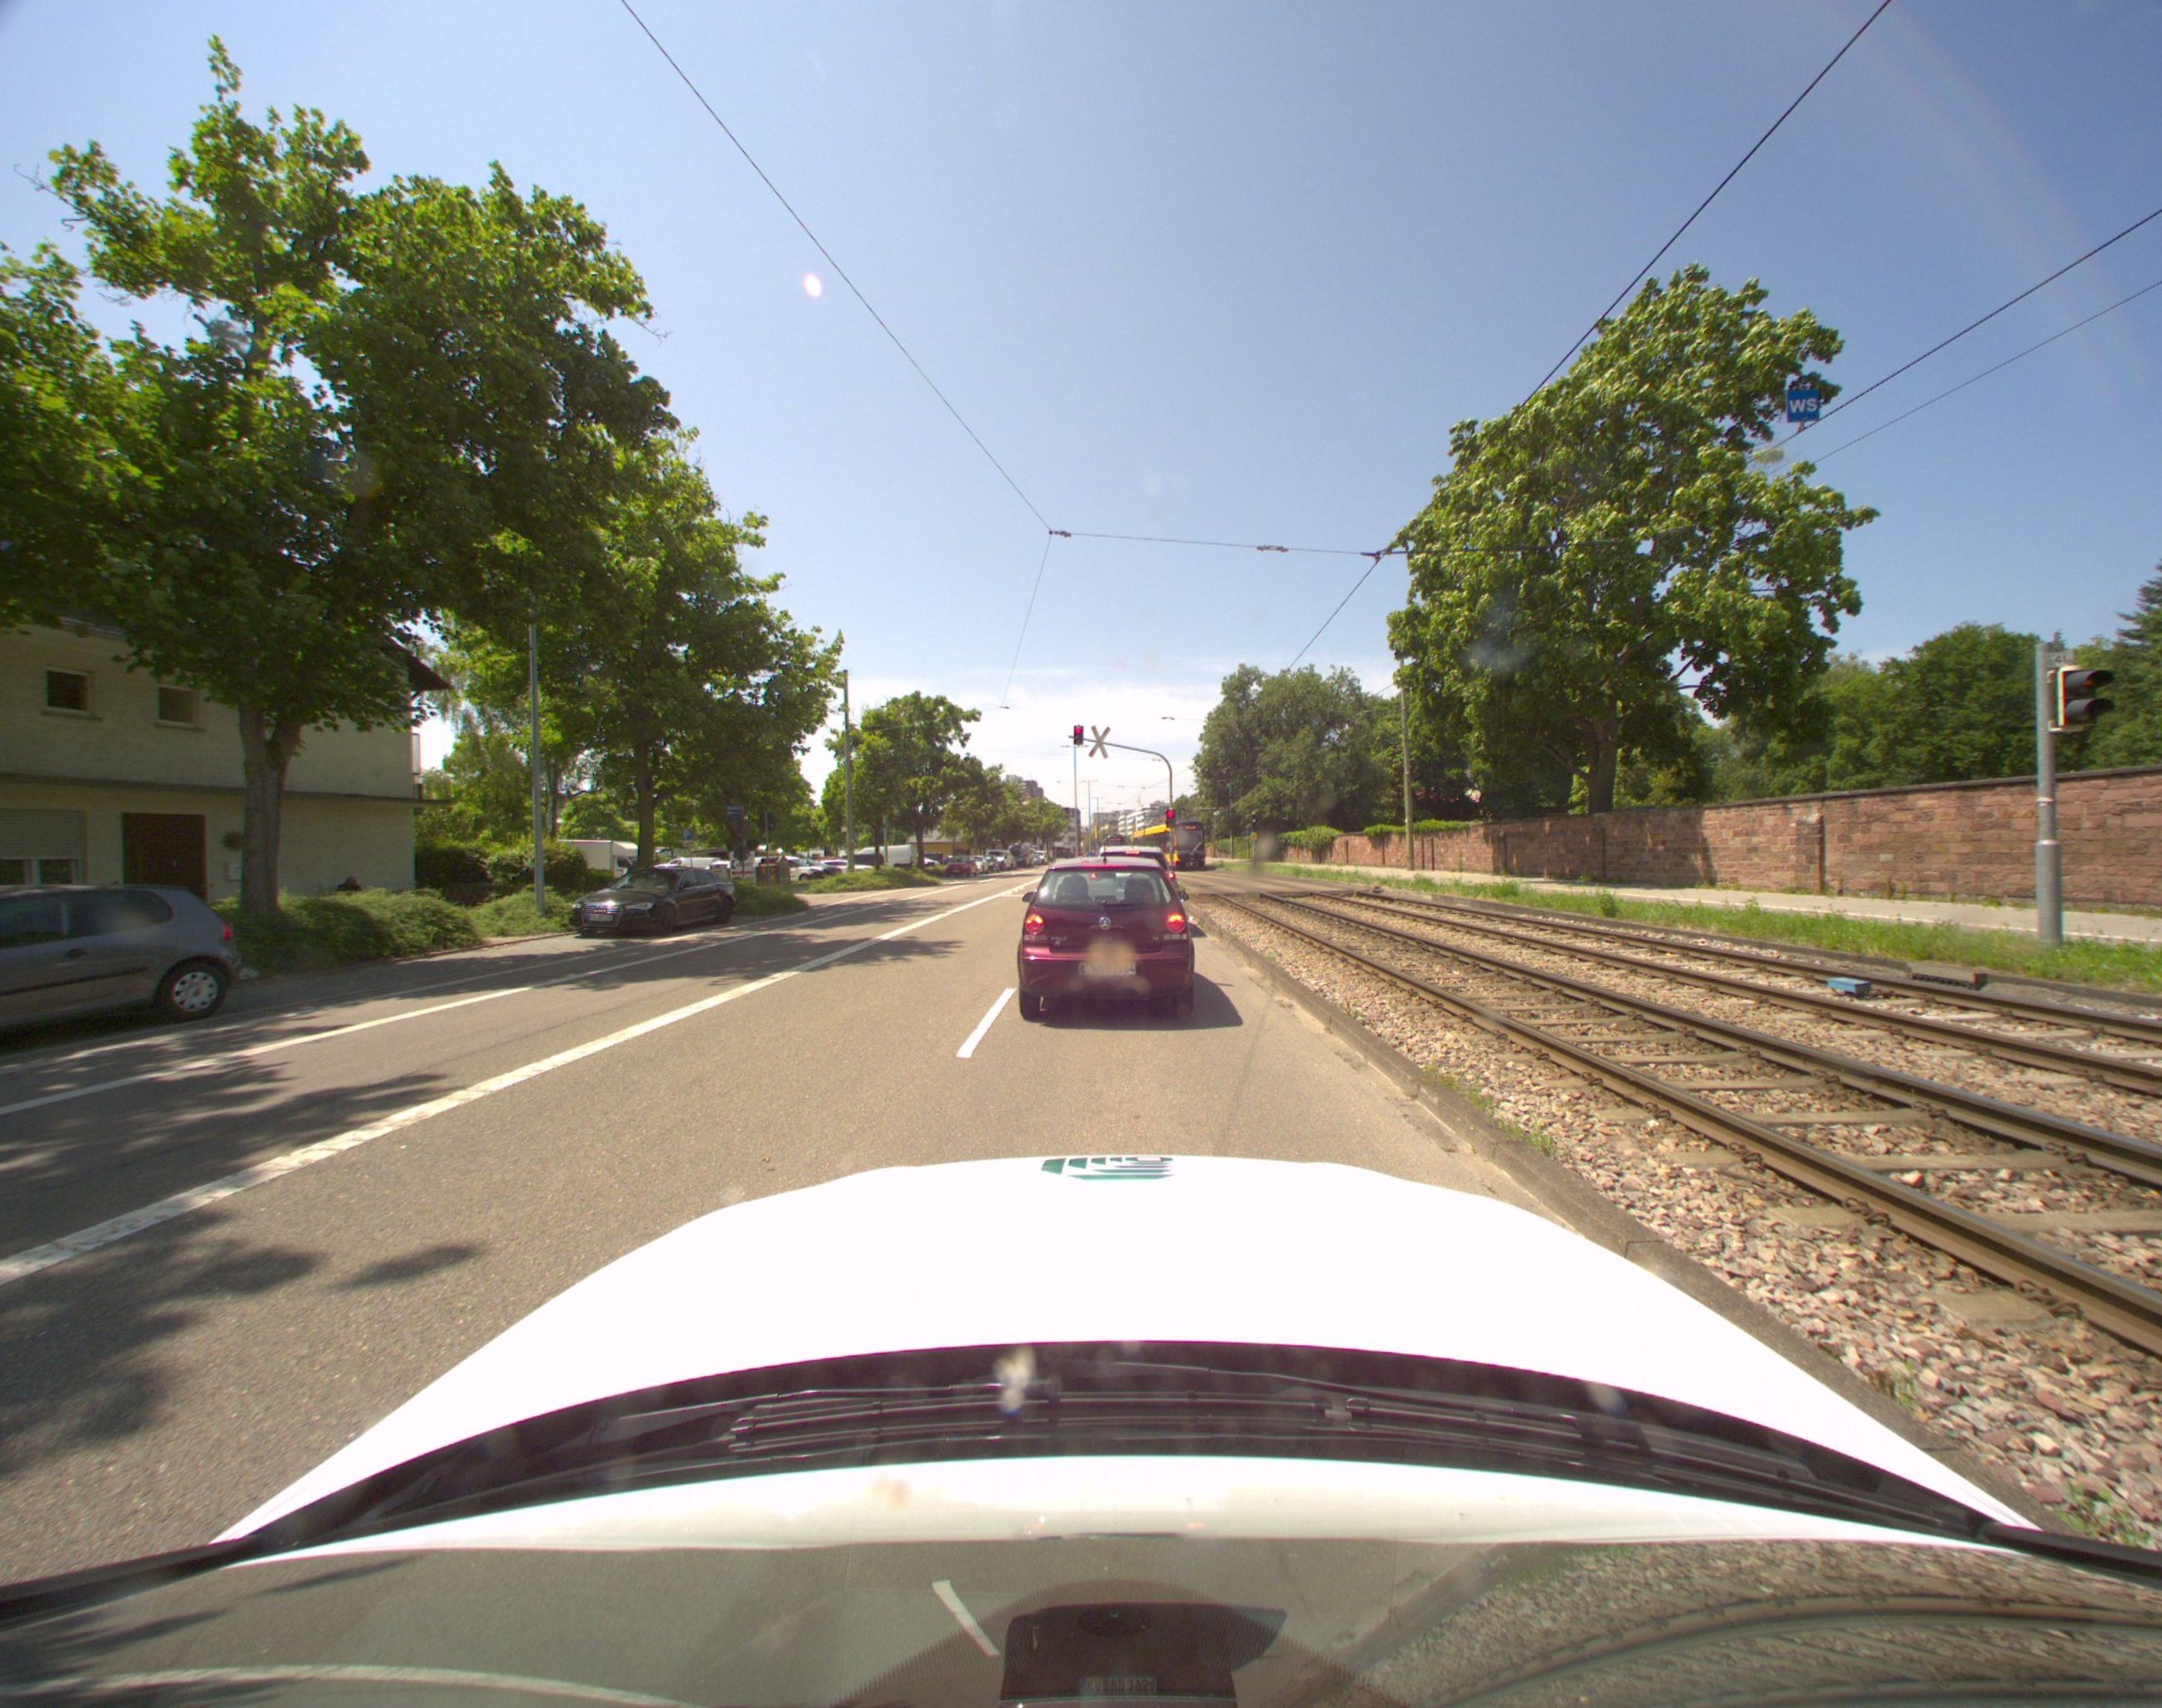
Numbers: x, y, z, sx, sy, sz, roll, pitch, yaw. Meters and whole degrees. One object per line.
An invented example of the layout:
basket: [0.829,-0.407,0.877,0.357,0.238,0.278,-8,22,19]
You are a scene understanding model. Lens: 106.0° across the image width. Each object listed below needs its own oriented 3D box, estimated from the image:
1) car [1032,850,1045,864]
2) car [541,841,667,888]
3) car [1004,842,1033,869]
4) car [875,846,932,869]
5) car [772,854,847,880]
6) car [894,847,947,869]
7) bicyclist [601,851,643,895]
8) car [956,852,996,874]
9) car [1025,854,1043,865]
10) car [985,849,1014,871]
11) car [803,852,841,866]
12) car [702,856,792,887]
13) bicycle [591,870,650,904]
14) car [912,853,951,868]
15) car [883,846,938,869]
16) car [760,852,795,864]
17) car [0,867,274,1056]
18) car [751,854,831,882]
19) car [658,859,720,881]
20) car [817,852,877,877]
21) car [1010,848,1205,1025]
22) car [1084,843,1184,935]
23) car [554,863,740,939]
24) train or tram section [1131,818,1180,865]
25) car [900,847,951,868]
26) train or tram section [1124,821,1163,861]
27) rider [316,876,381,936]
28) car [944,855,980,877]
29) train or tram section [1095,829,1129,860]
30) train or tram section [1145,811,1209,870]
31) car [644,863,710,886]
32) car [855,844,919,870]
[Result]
car: [-5.713,0.440,109.655,1.771,1.828,3.995,1,-1,-3]
car: [-31.324,0.686,53.636,6.828,2.965,2.364,1,-1,0]
car: [-6.548,0.159,86.377,2.352,2.692,5.311,1,-1,3]
car: [-17.684,0.358,81.499,5.076,2.244,2.380,1,-1,3]
car: [-18.294,0.877,54.879,4.319,1.585,1.917,-2,0,8]
car: [-17.127,0.412,87.147,5.076,2.244,2.380,1,-1,3]
bicyclist: [-14.656,0.590,26.029,0.805,1.374,0.829,1,-1,5]
car: [-8.095,0.669,63.113,1.965,1.601,4.566,1,-1,7]
car: [-5.939,0.700,103.740,1.606,1.441,4.006,1,-1,6]
car: [-7.313,0.526,73.341,1.774,1.881,4.792,1,-1,5]
car: [-31.417,0.650,98.755,4.006,1.617,1.816,1,-1,0]
car: [-19.239,1.001,47.087,4.329,1.585,1.912,-2,0,-1]
bicycle: [-14.646,1.030,25.952,0.697,1.029,1.831,1,-1,5]
car: [-17.250,0.733,94.157,4.004,1.617,1.818,1,-1,3]
car: [-17.647,0.385,84.646,5.076,2.244,2.380,1,-1,3]
car: [-40.736,0.537,109.323,4.004,1.617,1.818,1,-1,3]
car: [-10.202,0.951,7.242,1.812,1.564,4.183,0,0,1]
car: [-18.514,0.896,52.045,4.319,1.585,1.917,-2,0,7]
car: [-30.558,1.264,63.587,3.982,1.653,1.812,1,-1,-7]
car: [-18.054,0.772,62.912,3.973,1.746,1.999,-2,0,0]
car: [0.274,0.697,9.008,1.666,1.521,4.001,0,0,1]
car: [0.992,0.610,16.542,1.770,1.647,4.001,0,0,1]
car: [-9.775,0.983,18.819,1.812,1.476,4.451,0,0,1]
train or tram section: [6.488,-1.048,73.358,3.019,3.797,13.086,-2,0,0]
car: [-17.137,0.434,89.746,5.076,2.244,2.380,1,-1,3]
train or tram section: [6.433,-1.329,86.192,3.019,3.797,12.757,-2,0,0]
rider: [-17.882,1.259,19.888,0.820,1.374,0.814,-2,0,10]
car: [-8.209,0.819,56.561,1.655,1.497,4.004,1,-1,4]
train or tram section: [3.769,-1.134,101.903,2.736,3.609,12.848,1,0,-5]
train or tram section: [6.886,-0.923,60.341,3.019,3.797,13.086,-2,0,0]
car: [-30.294,1.508,61.166,3.982,1.653,1.812,1,-1,-7]
car: [-17.424,0.266,73.463,5.076,2.244,2.380,1,-1,3]
